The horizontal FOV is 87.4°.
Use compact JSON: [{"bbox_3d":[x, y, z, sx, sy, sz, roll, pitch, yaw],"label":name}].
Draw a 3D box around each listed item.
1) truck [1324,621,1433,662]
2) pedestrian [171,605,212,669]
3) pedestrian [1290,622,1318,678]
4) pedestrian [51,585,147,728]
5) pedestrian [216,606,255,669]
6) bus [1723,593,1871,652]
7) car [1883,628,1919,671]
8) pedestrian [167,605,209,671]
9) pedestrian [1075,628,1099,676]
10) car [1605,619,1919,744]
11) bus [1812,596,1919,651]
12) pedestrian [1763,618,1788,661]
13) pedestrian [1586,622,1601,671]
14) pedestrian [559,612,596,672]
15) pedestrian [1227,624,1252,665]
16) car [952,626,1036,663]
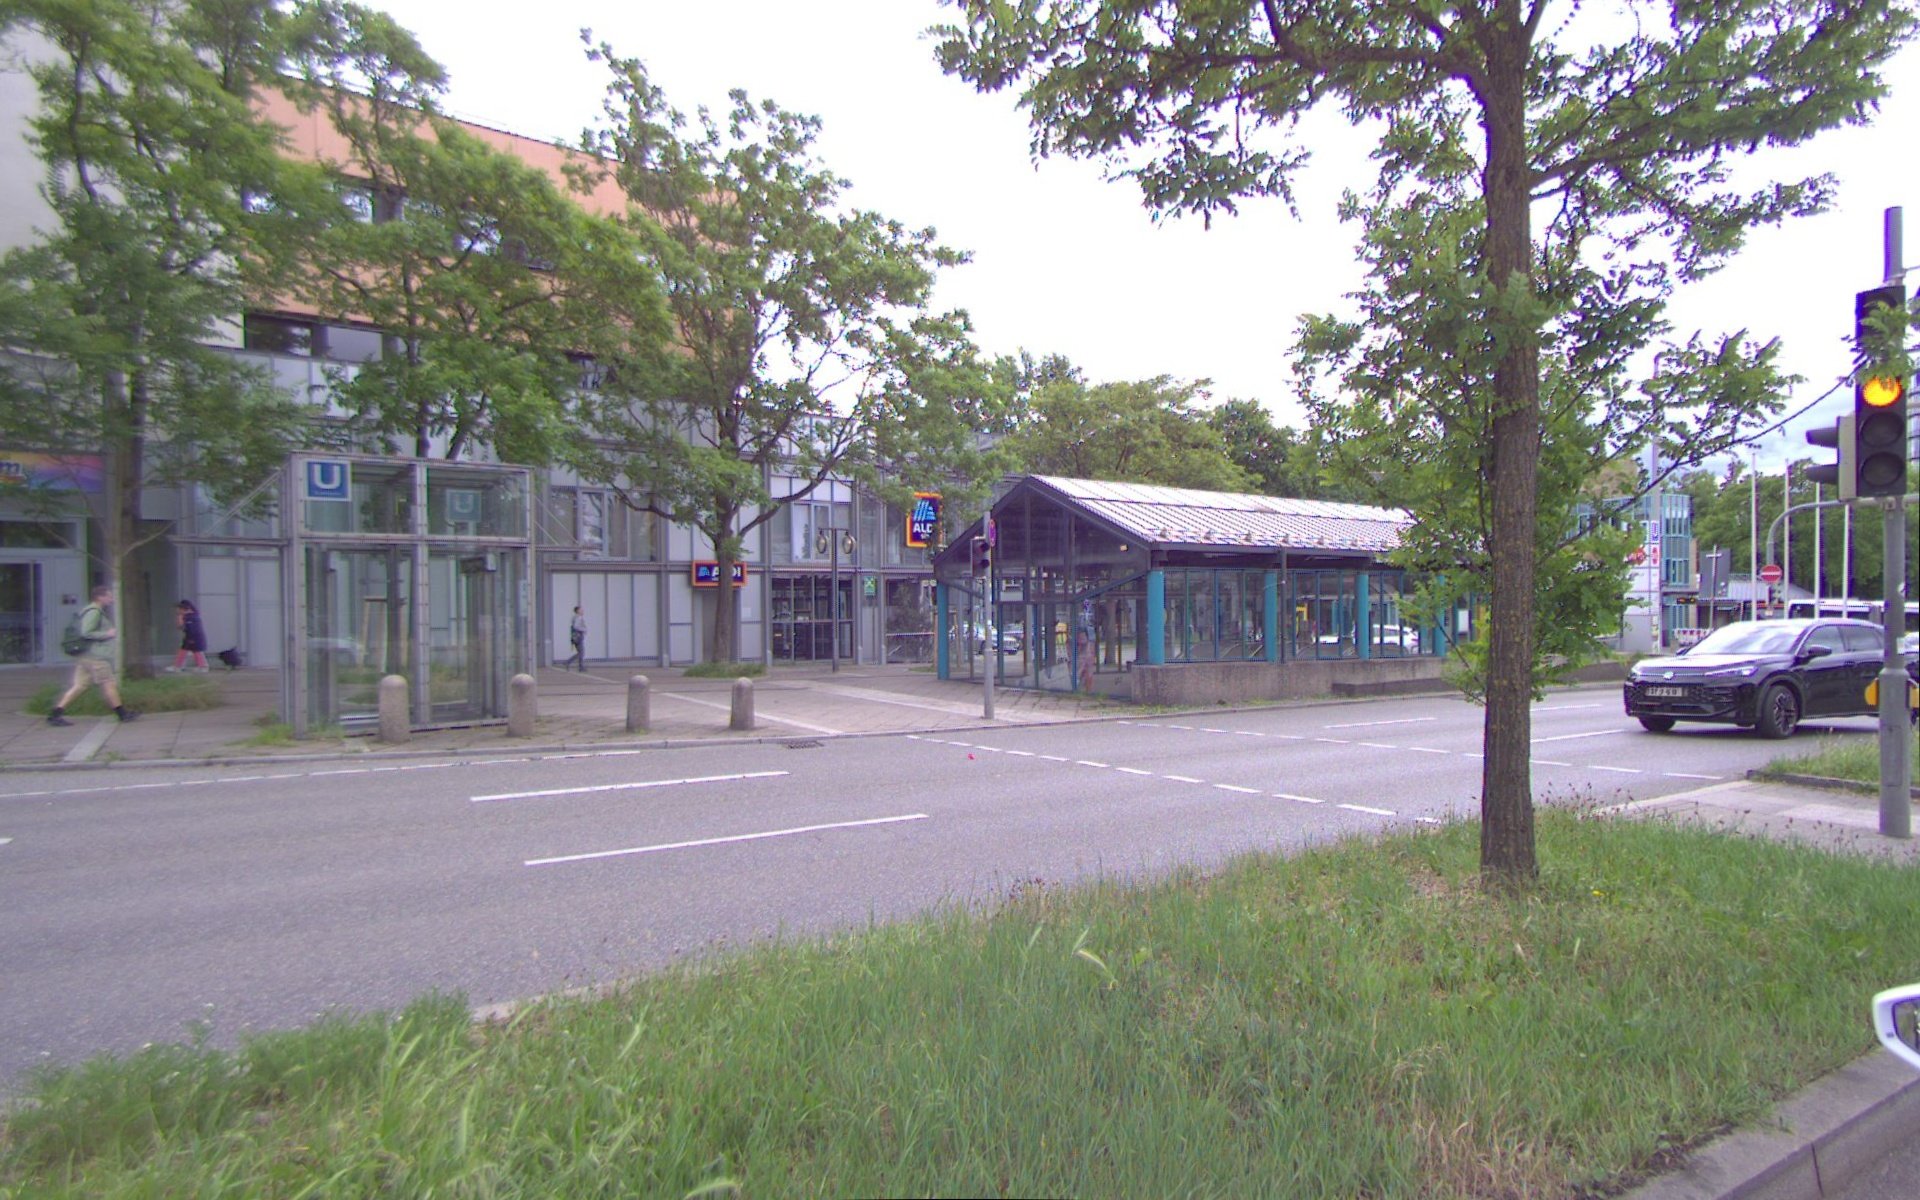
[{"bbox_3d":[16.850,1.632,40.435,3.925,1.537,1.998,0,-1,26],"label":"truck"},{"bbox_3d":[-17.023,0.816,22.269,0.689,1.393,0.578,1,-1,-37],"label":"pedestrian"},{"bbox_3d":[11.262,1.631,32.898,0.522,1.786,0.753,1,-1,-18],"label":"pedestrian"},{"bbox_3d":[-11.613,0.745,13.557,0.530,1.857,0.916,0,-1,44],"label":"pedestrian"},{"bbox_3d":[-16.326,0.839,22.635,0.689,1.393,0.578,1,-1,-37],"label":"pedestrian"},{"bbox_3d":[49.932,1.377,59.832,10.036,3.293,2.980,1,-1,-26],"label":"bus"},{"bbox_3d":[37.556,1.910,39.171,3.316,1.599,1.673,1,-1,-36],"label":"car"},{"bbox_3d":[-16.664,0.825,21.688,0.689,1.393,0.578,1,-1,-37],"label":"pedestrian"},{"bbox_3d":[4.550,1.848,35.935,0.703,1.677,0.517,1,-1,-37],"label":"pedestrian"},{"bbox_3d":[11.330,1.054,14.055,4.009,1.541,1.833,1,-1,-19],"label":"car"},{"bbox_3d":[57.929,1.538,63.772,7.771,3.313,2.980,1,-1,-26],"label":"bus"},{"bbox_3d":[36.173,1.743,44.543,0.677,1.922,0.658,1,-1,-30],"label":"pedestrian"},{"bbox_3d":[20.836,1.517,33.040,0.412,1.612,0.356,0,-1,31],"label":"pedestrian"},{"bbox_3d":[-9.688,1.053,25.429,0.748,1.499,0.525,1,-1,-36],"label":"pedestrian"},{"bbox_3d":[10.979,1.753,39.480,0.653,1.591,0.631,2,0,-29],"label":"pedestrian"},{"bbox_3d":[1.658,2.188,50.385,1.769,1.710,4.838,1,-1,-33],"label":"car"}]
